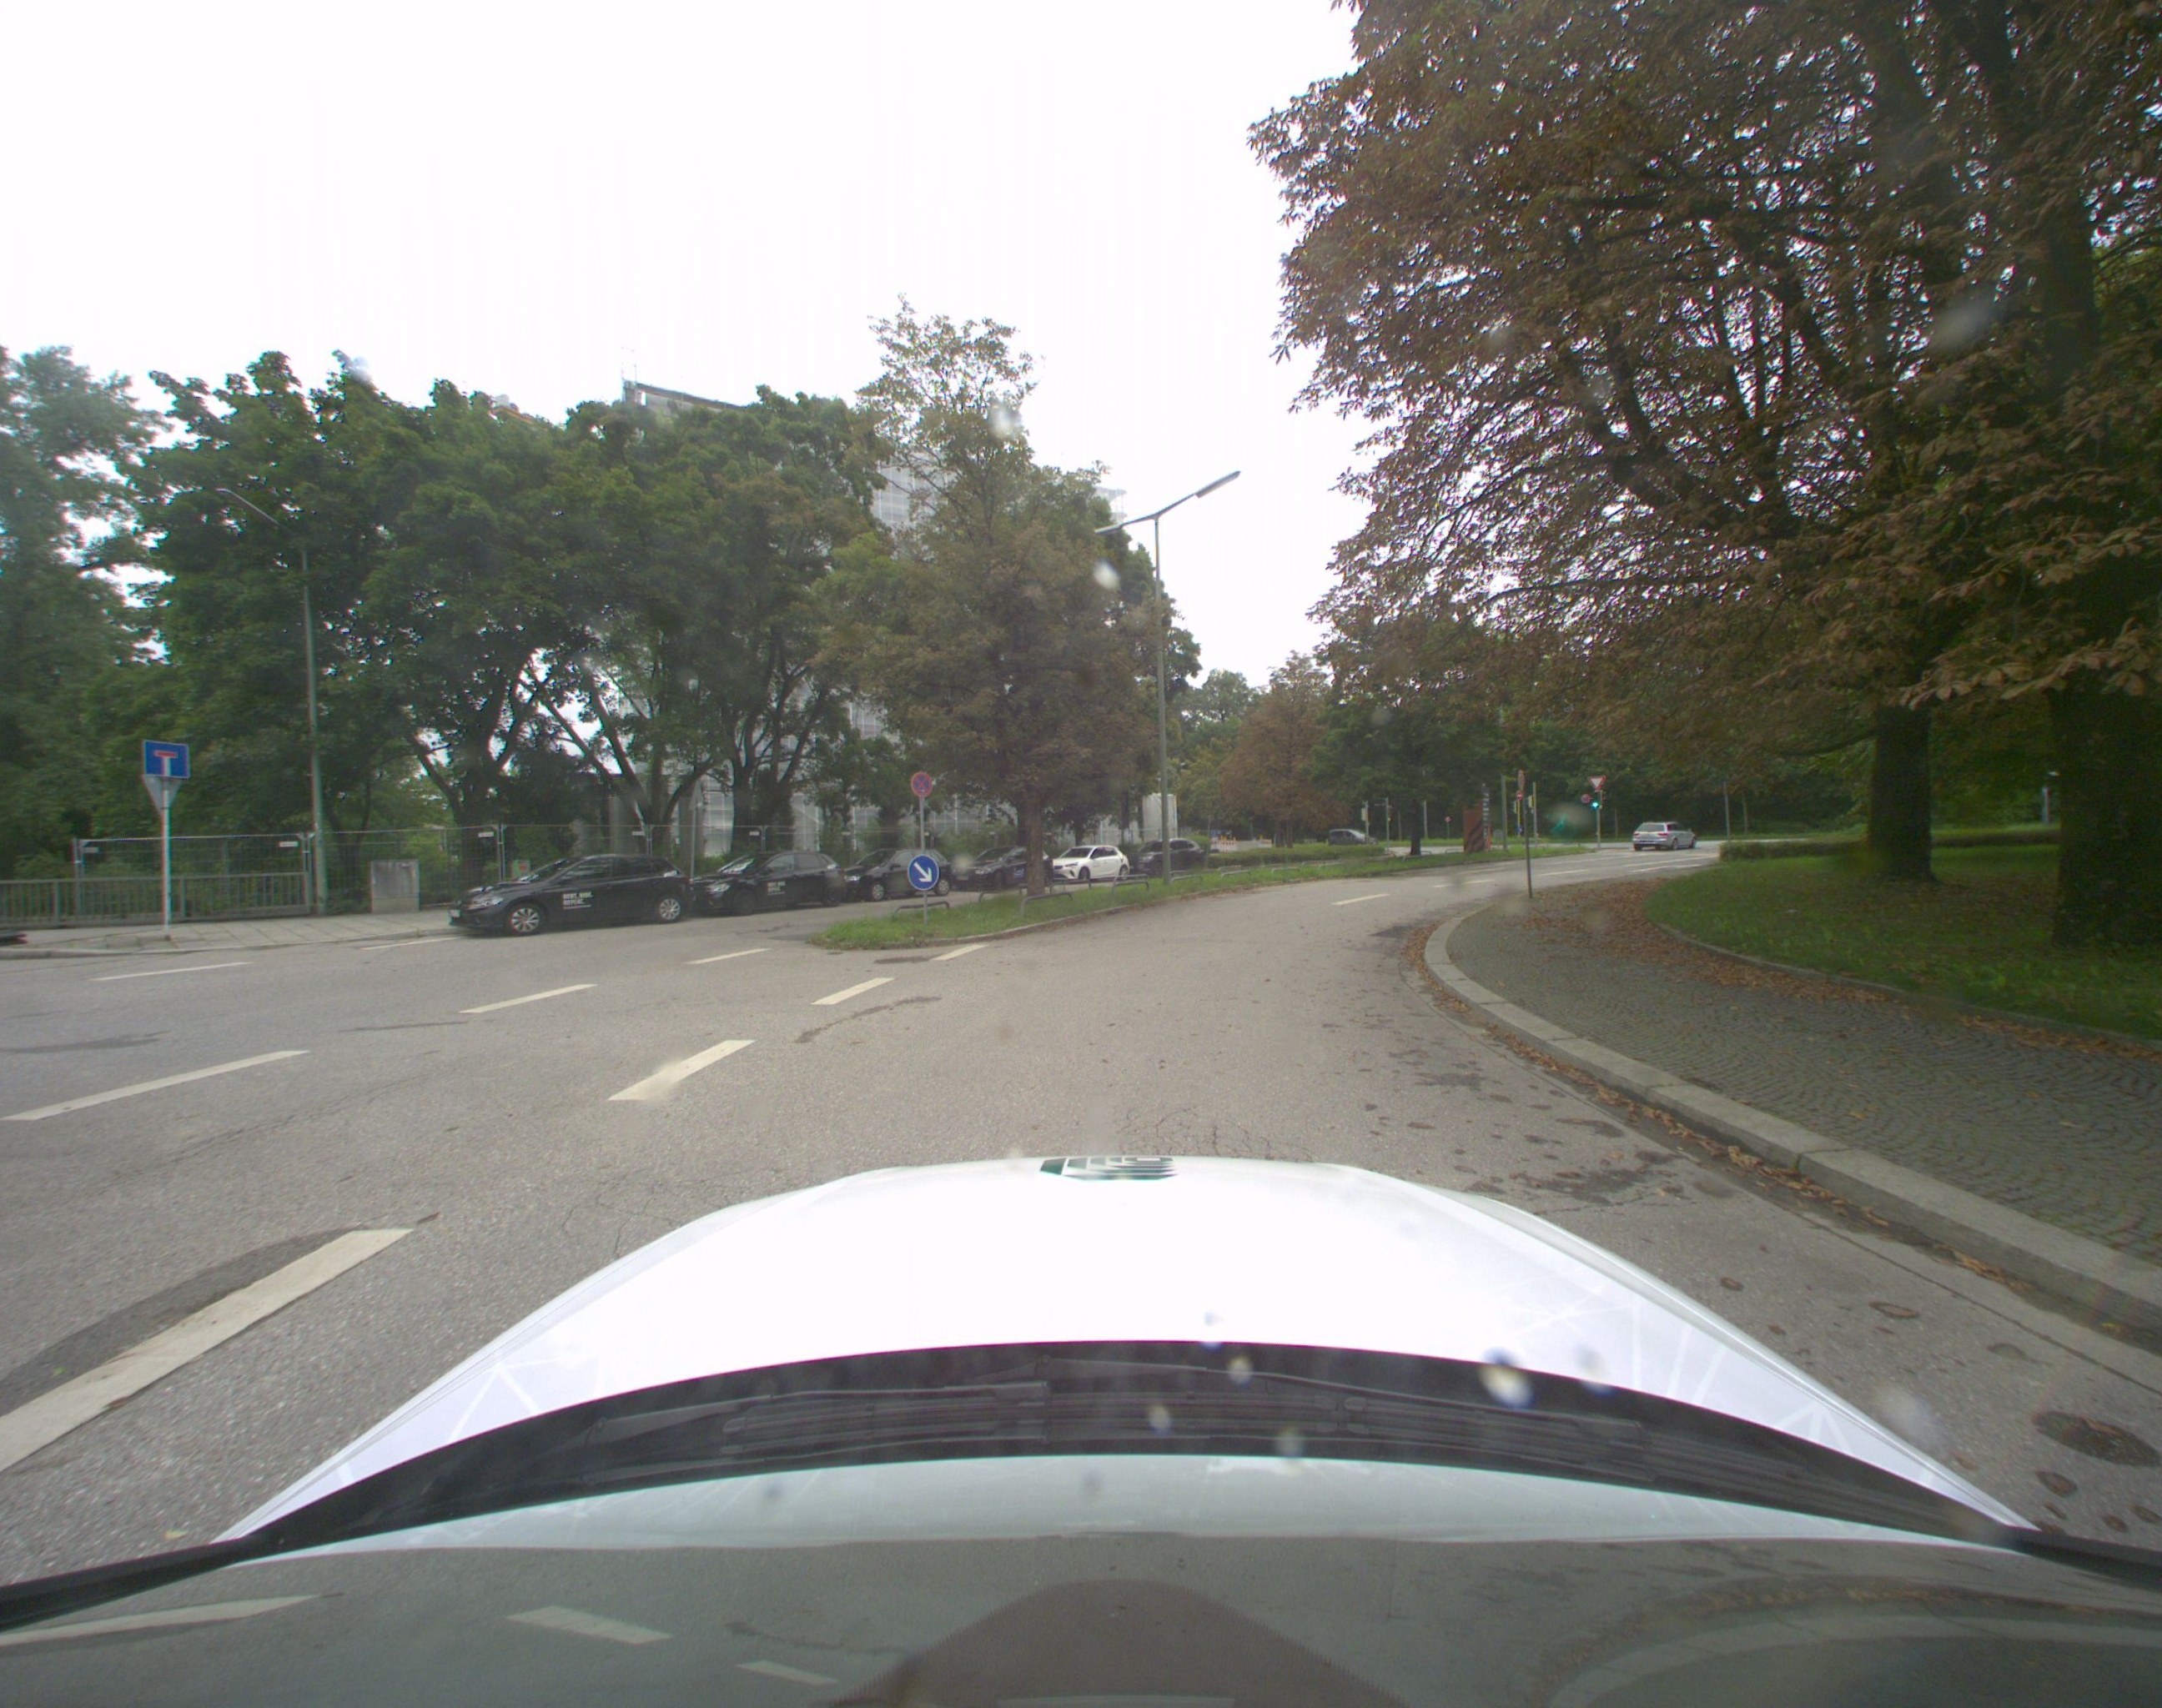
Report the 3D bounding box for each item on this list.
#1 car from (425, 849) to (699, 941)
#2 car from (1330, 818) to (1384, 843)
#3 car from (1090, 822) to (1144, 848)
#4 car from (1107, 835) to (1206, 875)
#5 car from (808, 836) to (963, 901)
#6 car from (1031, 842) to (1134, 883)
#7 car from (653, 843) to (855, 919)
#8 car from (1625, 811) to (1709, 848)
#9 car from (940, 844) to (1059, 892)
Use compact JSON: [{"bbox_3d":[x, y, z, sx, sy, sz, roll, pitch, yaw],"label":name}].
[{"bbox_3d":[-9.986,0.681,15.976,1.974,1.432,4.069,1,2,34],"label":"car"},{"bbox_3d":[23.653,-2.036,69.944,2.009,2.013,3.955,-2,1,-37],"label":"car"},{"bbox_3d":[5.036,-2.625,116.170,3.107,3.448,8.626,-2,1,-35],"label":"car"},{"bbox_3d":[3.296,0.068,34.977,1.868,1.606,4.422,-2,-1,45],"label":"car"},{"bbox_3d":[-5.533,0.369,23.522,1.974,1.706,4.026,-2,0,34],"label":"car"},{"bbox_3d":[0.151,0.296,31.488,1.778,1.383,4.246,-2,0,36],"label":"car"},{"bbox_3d":[-7.692,0.573,19.500,1.974,1.541,4.026,-2,1,34],"label":"car"},{"bbox_3d":[29.681,-1.237,41.257,4.139,1.749,1.980,-2,1,-31],"label":"car"},{"bbox_3d":[-2.676,0.440,27.587,1.816,1.460,4.032,-2,0,34],"label":"car"}]
